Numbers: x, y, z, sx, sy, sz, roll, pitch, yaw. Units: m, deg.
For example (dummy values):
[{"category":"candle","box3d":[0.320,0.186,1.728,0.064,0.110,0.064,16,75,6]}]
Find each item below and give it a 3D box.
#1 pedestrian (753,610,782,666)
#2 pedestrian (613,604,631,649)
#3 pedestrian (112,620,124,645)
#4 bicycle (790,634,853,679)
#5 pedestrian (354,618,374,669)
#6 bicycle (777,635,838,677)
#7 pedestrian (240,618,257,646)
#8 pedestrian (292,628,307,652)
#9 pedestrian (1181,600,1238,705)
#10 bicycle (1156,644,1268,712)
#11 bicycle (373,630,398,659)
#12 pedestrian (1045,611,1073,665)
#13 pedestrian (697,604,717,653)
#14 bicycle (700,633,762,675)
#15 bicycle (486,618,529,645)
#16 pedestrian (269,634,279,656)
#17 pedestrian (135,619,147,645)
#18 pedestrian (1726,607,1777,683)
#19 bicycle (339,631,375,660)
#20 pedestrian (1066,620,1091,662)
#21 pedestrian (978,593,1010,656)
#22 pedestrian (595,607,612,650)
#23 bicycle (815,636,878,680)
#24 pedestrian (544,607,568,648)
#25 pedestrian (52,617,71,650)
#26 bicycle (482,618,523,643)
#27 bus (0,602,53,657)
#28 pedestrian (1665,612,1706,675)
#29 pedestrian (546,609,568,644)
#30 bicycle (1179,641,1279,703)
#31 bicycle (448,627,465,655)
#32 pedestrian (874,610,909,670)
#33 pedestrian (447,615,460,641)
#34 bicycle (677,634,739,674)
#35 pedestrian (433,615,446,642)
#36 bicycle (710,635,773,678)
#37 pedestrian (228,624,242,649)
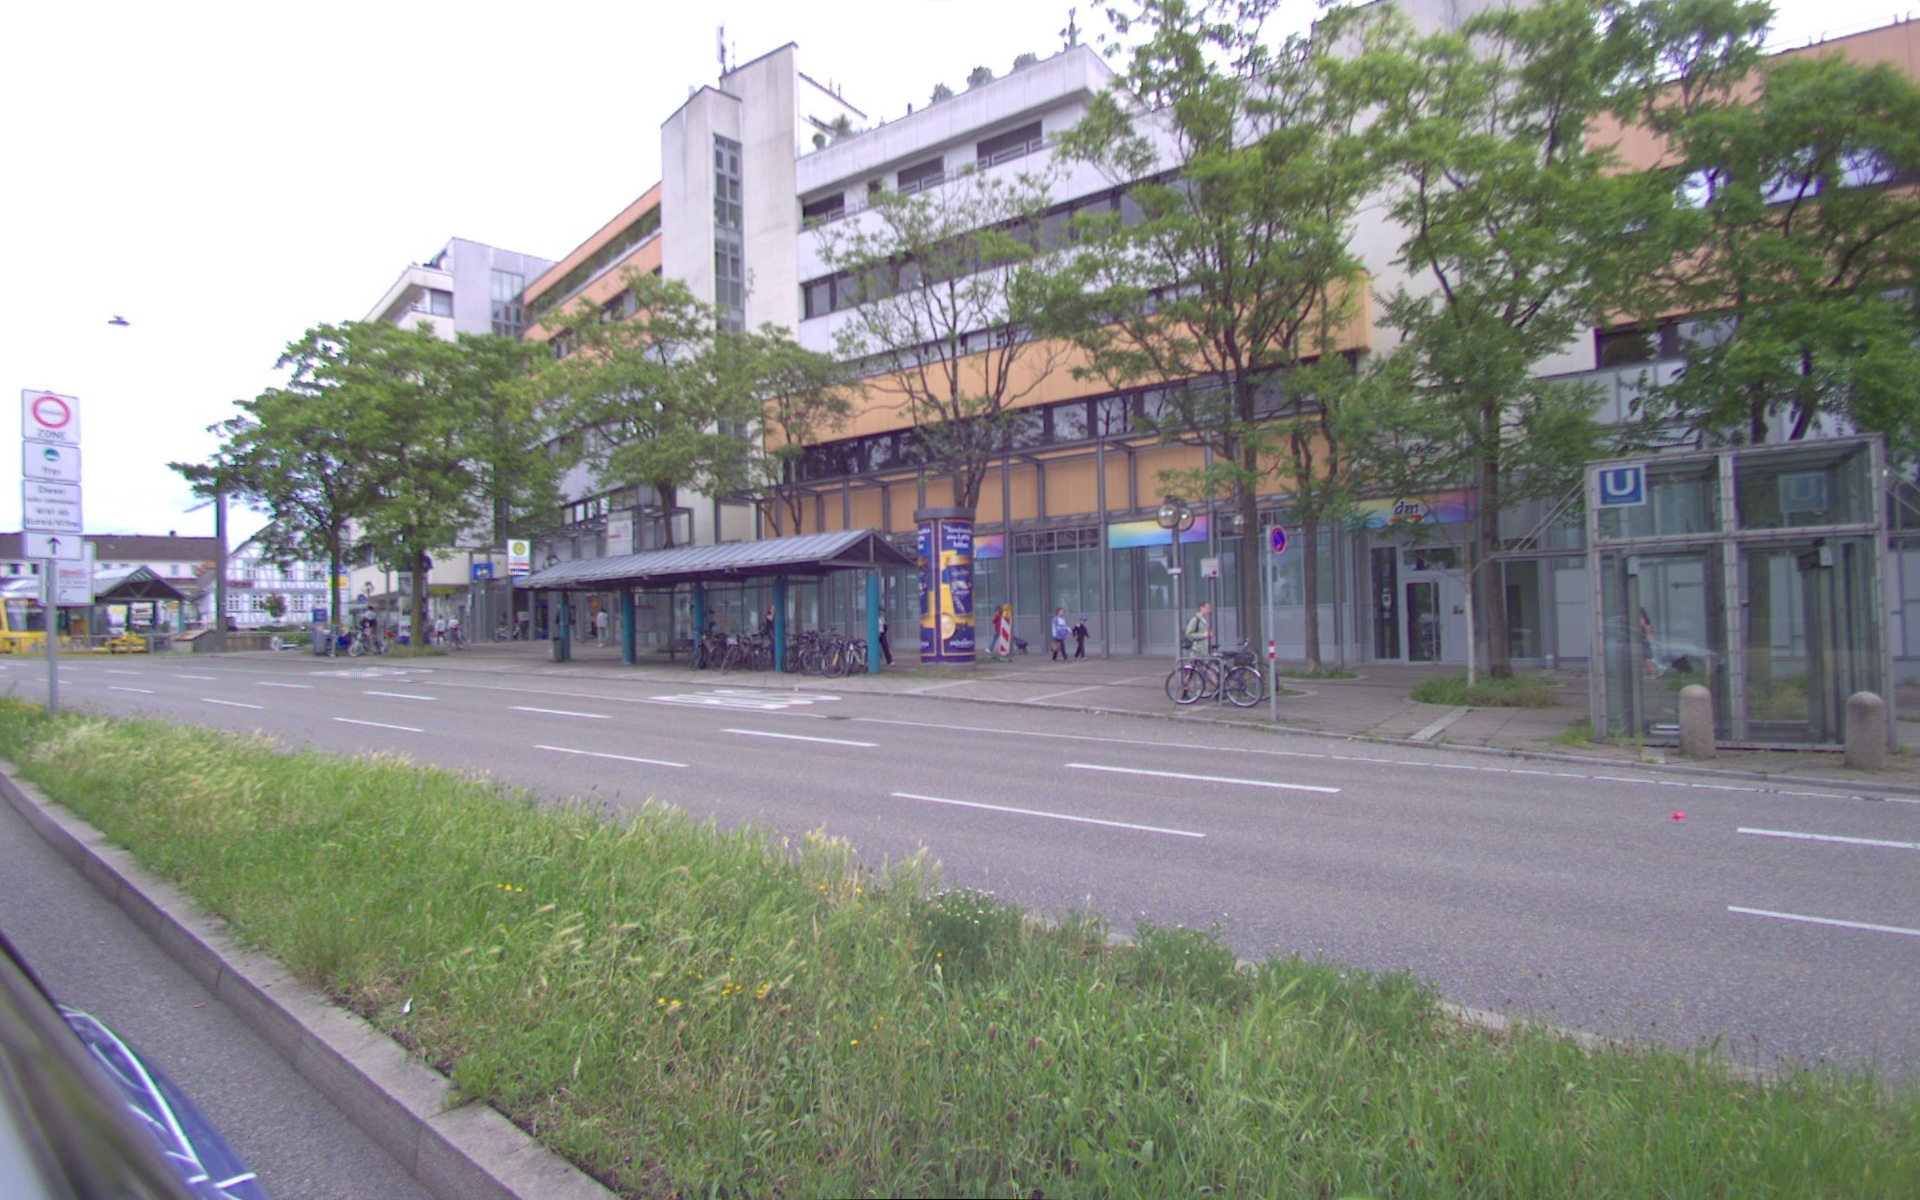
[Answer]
[{"category":"pedestrian","box3d":[-6.246,1.227,32.836,0.769,1.800,0.525,-1,-2,33]},{"category":"pedestrian","box3d":[-15.210,1.198,45.493,0.558,2.029,0.611,1,-2,-44]},{"category":"pedestrian","box3d":[-66.571,2.562,80.001,0.731,2.029,0.940,1,-2,-39]},{"category":"bicycle","box3d":[-3.618,1.458,26.592,0.549,1.048,1.714,-2,0,38]},{"category":"pedestrian","box3d":[-27.416,1.975,46.560,0.608,2.325,0.583,-1,-2,39]},{"category":"bicycle","box3d":[-4.142,1.514,27.559,0.549,1.048,1.714,-2,-1,38]},{"category":"pedestrian","box3d":[-53.264,2.385,75.757,0.867,2.029,1.010,1,-2,-44]},{"category":"pedestrian","box3d":[-41.802,2.519,64.030,0.581,1.554,0.570,-1,-2,32]},{"category":"pedestrian","box3d":[4.495,0.934,18.229,0.916,1.846,0.533,-1,-2,25]},{"category":"bicycle","box3d":[4.363,1.324,17.598,0.802,1.068,1.739,0,-1,-40]},{"category":"bicycle","box3d":[-22.752,1.753,40.108,0.584,1.085,2.044,0,-1,-21]},{"category":"pedestrian","box3d":[2.841,1.085,29.094,0.620,1.515,0.563,-1,-2,31]},{"category":"pedestrian","box3d":[-10.402,1.175,41.673,0.558,2.029,0.611,1,-2,-44]},{"category":"bicycle","box3d":[-6.460,1.512,28.583,0.549,1.048,1.714,-2,1,38]},{"category":"bicycle","box3d":[-24.953,1.724,55.786,2.107,1.385,0.621,-1,0,-31]},{"category":"pedestrian","box3d":[-37.032,2.432,54.618,0.368,1.188,0.338,-1,-2,31]},{"category":"pedestrian","box3d":[-65.255,2.554,80.661,0.731,2.029,0.940,1,-2,-39]},{"category":"pedestrian","box3d":[15.942,0.894,20.406,0.754,1.491,0.524,-1,-2,36]},{"category":"bicycle","box3d":[-23.619,1.766,39.650,0.585,1.085,2.042,0,-1,-12]},{"category":"pedestrian","box3d":[3.462,1.193,29.547,0.620,1.190,0.418,-1,-2,31]},{"category":"pedestrian","box3d":[1.096,0.783,32.691,0.791,2.029,0.703,-1,0,31]},{"category":"pedestrian","box3d":[-15.478,1.242,43.905,0.639,1.823,0.761,0,-2,-16]},{"category":"bicycle","box3d":[-2.909,1.474,26.059,0.549,1.048,1.714,-2,0,38]},{"category":"pedestrian","box3d":[-18.970,1.290,47.511,0.752,1.859,0.755,-1,-2,41]},{"category":"pedestrian","box3d":[-54.912,2.043,61.868,0.663,2.029,0.632,-1,-2,21]},{"category":"bicycle","box3d":[-26.102,1.735,57.764,2.106,1.377,0.621,-1,0,-24]},{"category":"bus","box3d":[-55.988,1.685,58.613,8.470,3.006,2.530,-1,-2,29]},{"category":"pedestrian","box3d":[16.173,0.968,22.583,0.694,1.385,0.578,-1,-2,34]},{"category":"pedestrian","box3d":[-19.556,1.297,49.105,0.752,1.695,0.755,-1,-2,41]},{"category":"bicycle","box3d":[4.980,1.312,18.789,1.737,1.074,0.542,-2,-1,45]},{"category":"bicycle","box3d":[-21.357,1.707,42.928,0.584,1.134,2.044,1,-1,-26]},{"category":"pedestrian","box3d":[-1.970,1.137,28.933,0.721,1.662,0.669,-1,-1,37]},{"category":"pedestrian","box3d":[-28.967,1.605,57.901,0.548,1.506,0.454,1,-2,-41]},{"category":"bicycle","box3d":[-7.238,1.535,29.148,0.549,1.048,1.714,-2,0,38]},{"category":"pedestrian","box3d":[-29.604,1.614,57.585,0.548,1.506,0.454,1,-2,-41]},{"category":"bicycle","box3d":[-5.965,1.529,27.721,0.549,1.048,1.714,-2,1,38]},{"category":"pedestrian","box3d":[-46.722,2.342,65.233,0.581,1.554,0.570,-1,-2,32]}]
